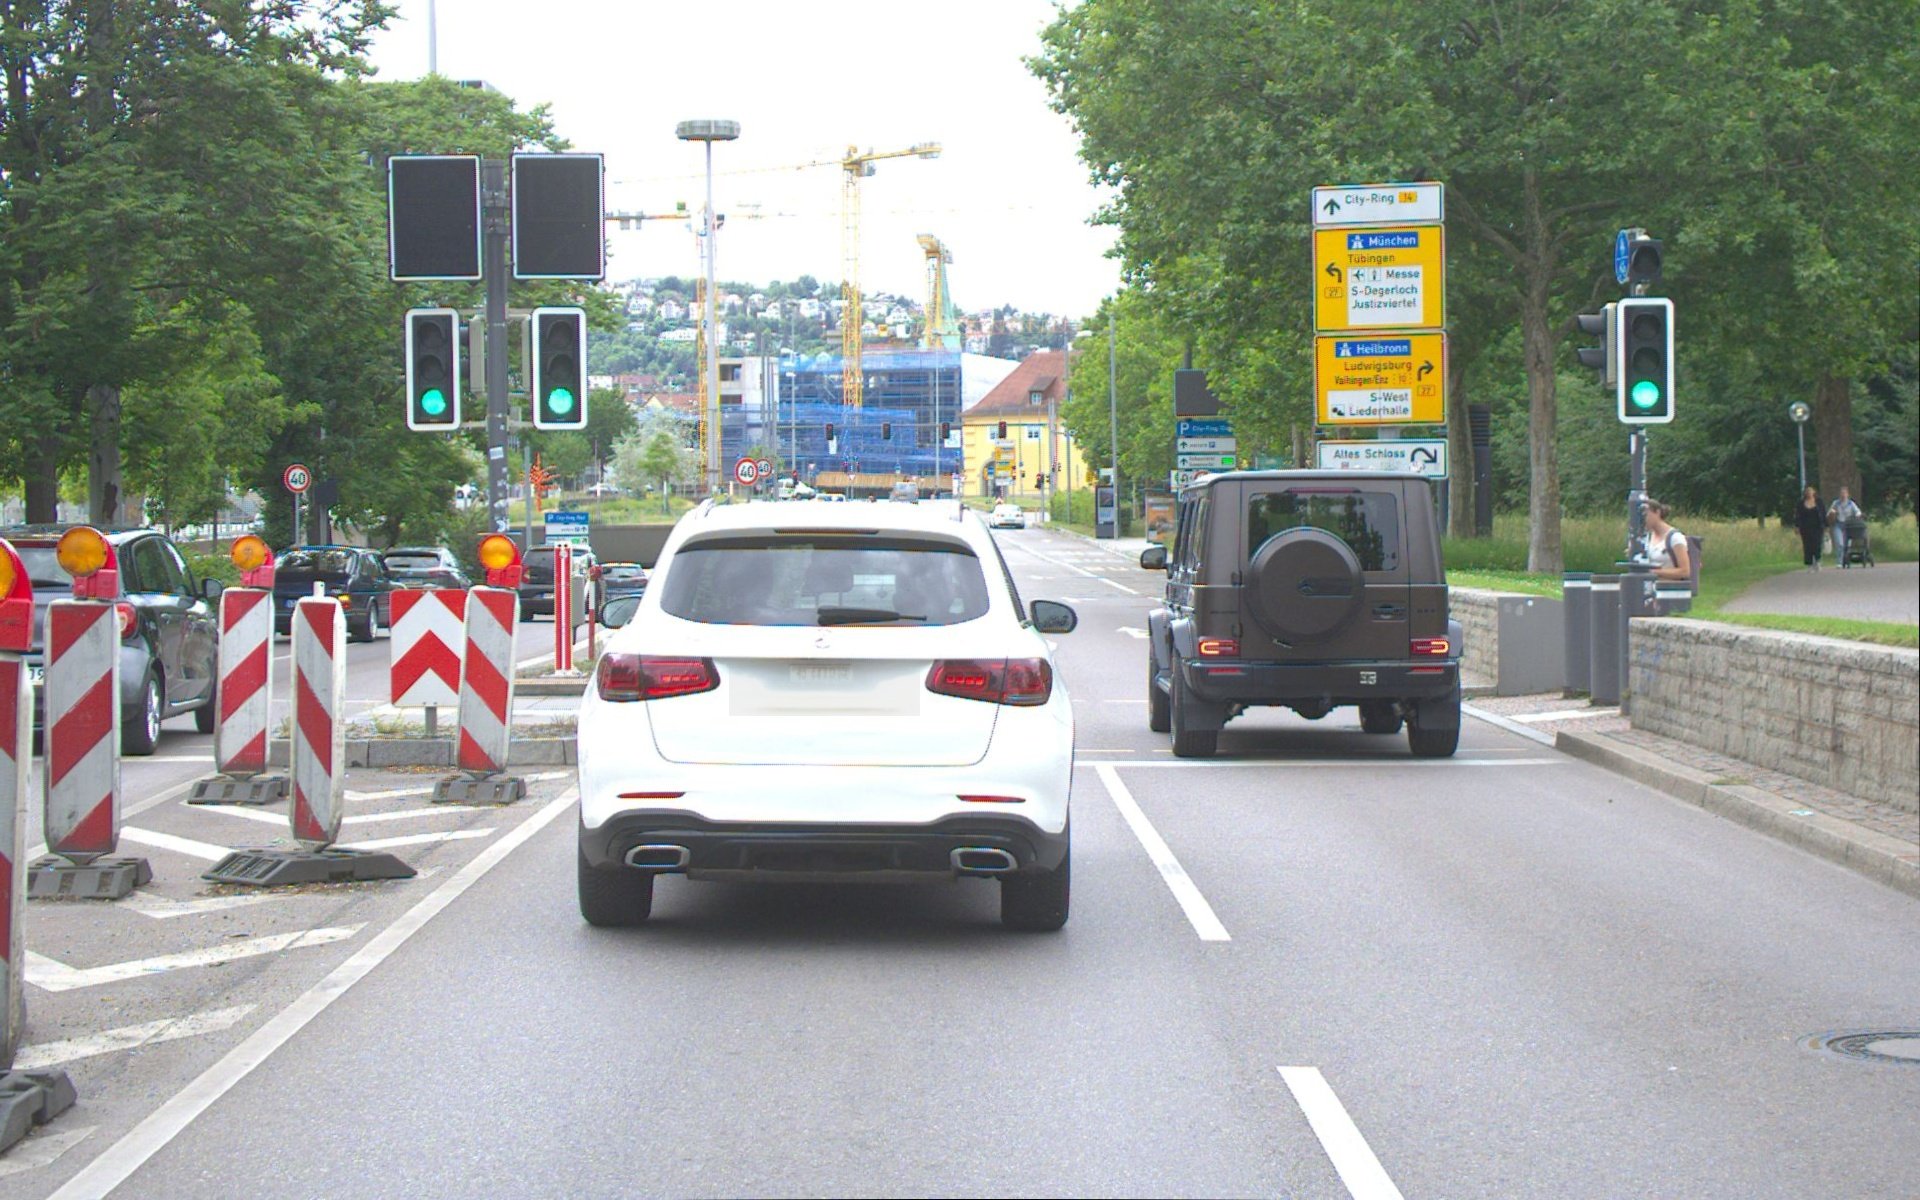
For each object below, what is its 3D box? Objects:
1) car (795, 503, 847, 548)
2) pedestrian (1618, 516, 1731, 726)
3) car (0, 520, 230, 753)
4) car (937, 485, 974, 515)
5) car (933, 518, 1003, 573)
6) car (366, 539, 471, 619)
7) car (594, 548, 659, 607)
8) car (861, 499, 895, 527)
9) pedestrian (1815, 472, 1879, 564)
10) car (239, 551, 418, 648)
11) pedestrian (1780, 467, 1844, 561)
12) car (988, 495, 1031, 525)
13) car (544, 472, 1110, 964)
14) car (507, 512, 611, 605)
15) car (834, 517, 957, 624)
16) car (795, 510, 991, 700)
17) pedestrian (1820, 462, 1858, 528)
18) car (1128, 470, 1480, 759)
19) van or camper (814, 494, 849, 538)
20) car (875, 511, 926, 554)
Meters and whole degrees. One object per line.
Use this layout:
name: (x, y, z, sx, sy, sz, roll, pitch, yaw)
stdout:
car: (-5.795, -3.087, 143.280, 1.993, 1.751, 4.000, 2, 0, -1)
pedestrian: (5.752, 0.161, 27.706, 0.697, 1.650, 0.684, 2, 0, -2)
car: (-6.250, 0.216, 24.081, 1.627, 1.504, 3.540, 1, 0, -2)
car: (-0.253, -5.545, 190.810, 1.719, 1.579, 4.001, 2, 1, -4)
car: (0.241, -1.735, 110.380, 1.993, 1.656, 4.000, 2, 0, -3)
car: (-11.318, -0.465, 72.033, 1.753, 1.548, 4.001, 2, 1, -3)
car: (-9.667, -0.677, 99.458, 1.718, 1.579, 4.001, 2, 1, -7)
car: (-4.784, -5.064, 200.482, 1.719, 1.579, 4.001, 2, 1, -4)
pedestrian: (18.074, -1.667, 70.057, 0.996, 1.830, 1.030, 2, 0, 1)
car: (-9.133, -0.037, 50.018, 1.719, 1.288, 4.000, 2, 1, 2)
pedestrian: (16.184, -1.631, 65.310, 0.896, 1.726, 0.969, 2, 1, -1)
car: (2.921, -5.300, 202.577, 1.993, 1.612, 4.001, 2, 0, -7)
car: (-0.566, 0.403, 14.123, 1.940, 1.678, 4.000, 2, 0, -3)
car: (-7.659, -0.820, 65.921, 1.719, 1.673, 4.001, 2, 1, -4)
car: (-1.060, -0.491, 54.651, 1.719, 1.579, 4.001, 2, 1, -4)
car: (-0.641, 0.044, 32.257, 1.672, 1.622, 4.000, 2, 0, -2)
pedestrian: (17.977, -2.151, 70.301, 0.582, 1.320, 0.542, 2, 0, -1)
car: (2.363, 0.077, 24.814, 1.977, 1.887, 4.707, 0, 0, -1)
van or camper: (-7.250, -4.715, 193.860, 1.922, 2.312, 4.000, 1, 0, -3)
car: (-2.588, -2.907, 148.584, 1.993, 1.774, 4.000, 2, 0, -3)
